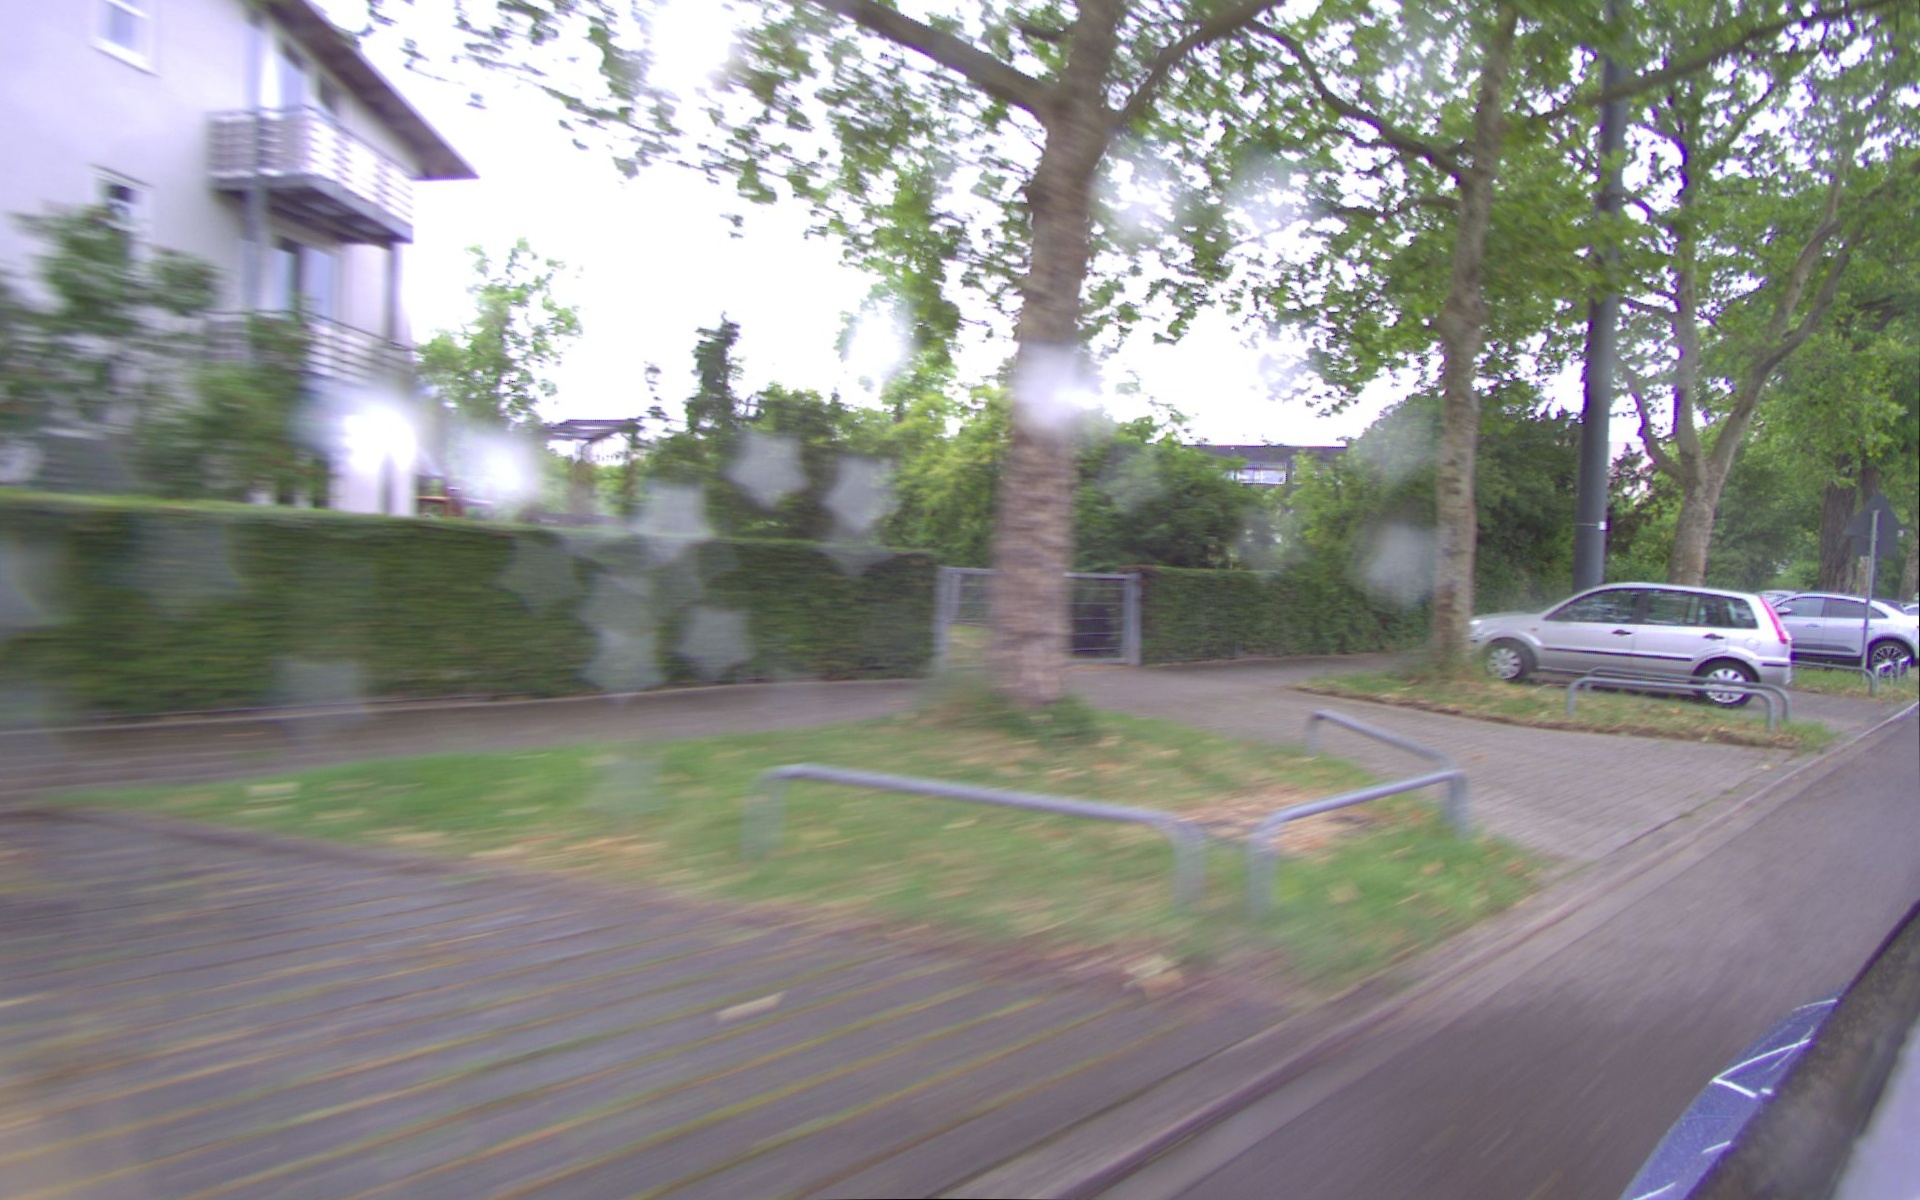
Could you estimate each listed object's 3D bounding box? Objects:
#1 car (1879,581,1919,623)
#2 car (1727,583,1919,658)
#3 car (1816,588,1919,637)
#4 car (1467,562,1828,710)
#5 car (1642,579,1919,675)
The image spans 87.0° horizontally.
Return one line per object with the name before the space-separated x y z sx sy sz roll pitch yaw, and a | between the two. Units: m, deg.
car | 49.601 0.220 50.569 4.956 2.038 1.992 4 2 14
car | 21.763 0.481 25.315 3.663 1.585 1.611 3 2 16
car | 35.365 0.553 37.914 4.500 1.563 1.878 5 3 17
car | 9.269 0.388 14.013 3.838 1.585 1.601 5 3 31
car | 17.401 0.520 21.168 4.702 1.688 1.988 3 2 13
